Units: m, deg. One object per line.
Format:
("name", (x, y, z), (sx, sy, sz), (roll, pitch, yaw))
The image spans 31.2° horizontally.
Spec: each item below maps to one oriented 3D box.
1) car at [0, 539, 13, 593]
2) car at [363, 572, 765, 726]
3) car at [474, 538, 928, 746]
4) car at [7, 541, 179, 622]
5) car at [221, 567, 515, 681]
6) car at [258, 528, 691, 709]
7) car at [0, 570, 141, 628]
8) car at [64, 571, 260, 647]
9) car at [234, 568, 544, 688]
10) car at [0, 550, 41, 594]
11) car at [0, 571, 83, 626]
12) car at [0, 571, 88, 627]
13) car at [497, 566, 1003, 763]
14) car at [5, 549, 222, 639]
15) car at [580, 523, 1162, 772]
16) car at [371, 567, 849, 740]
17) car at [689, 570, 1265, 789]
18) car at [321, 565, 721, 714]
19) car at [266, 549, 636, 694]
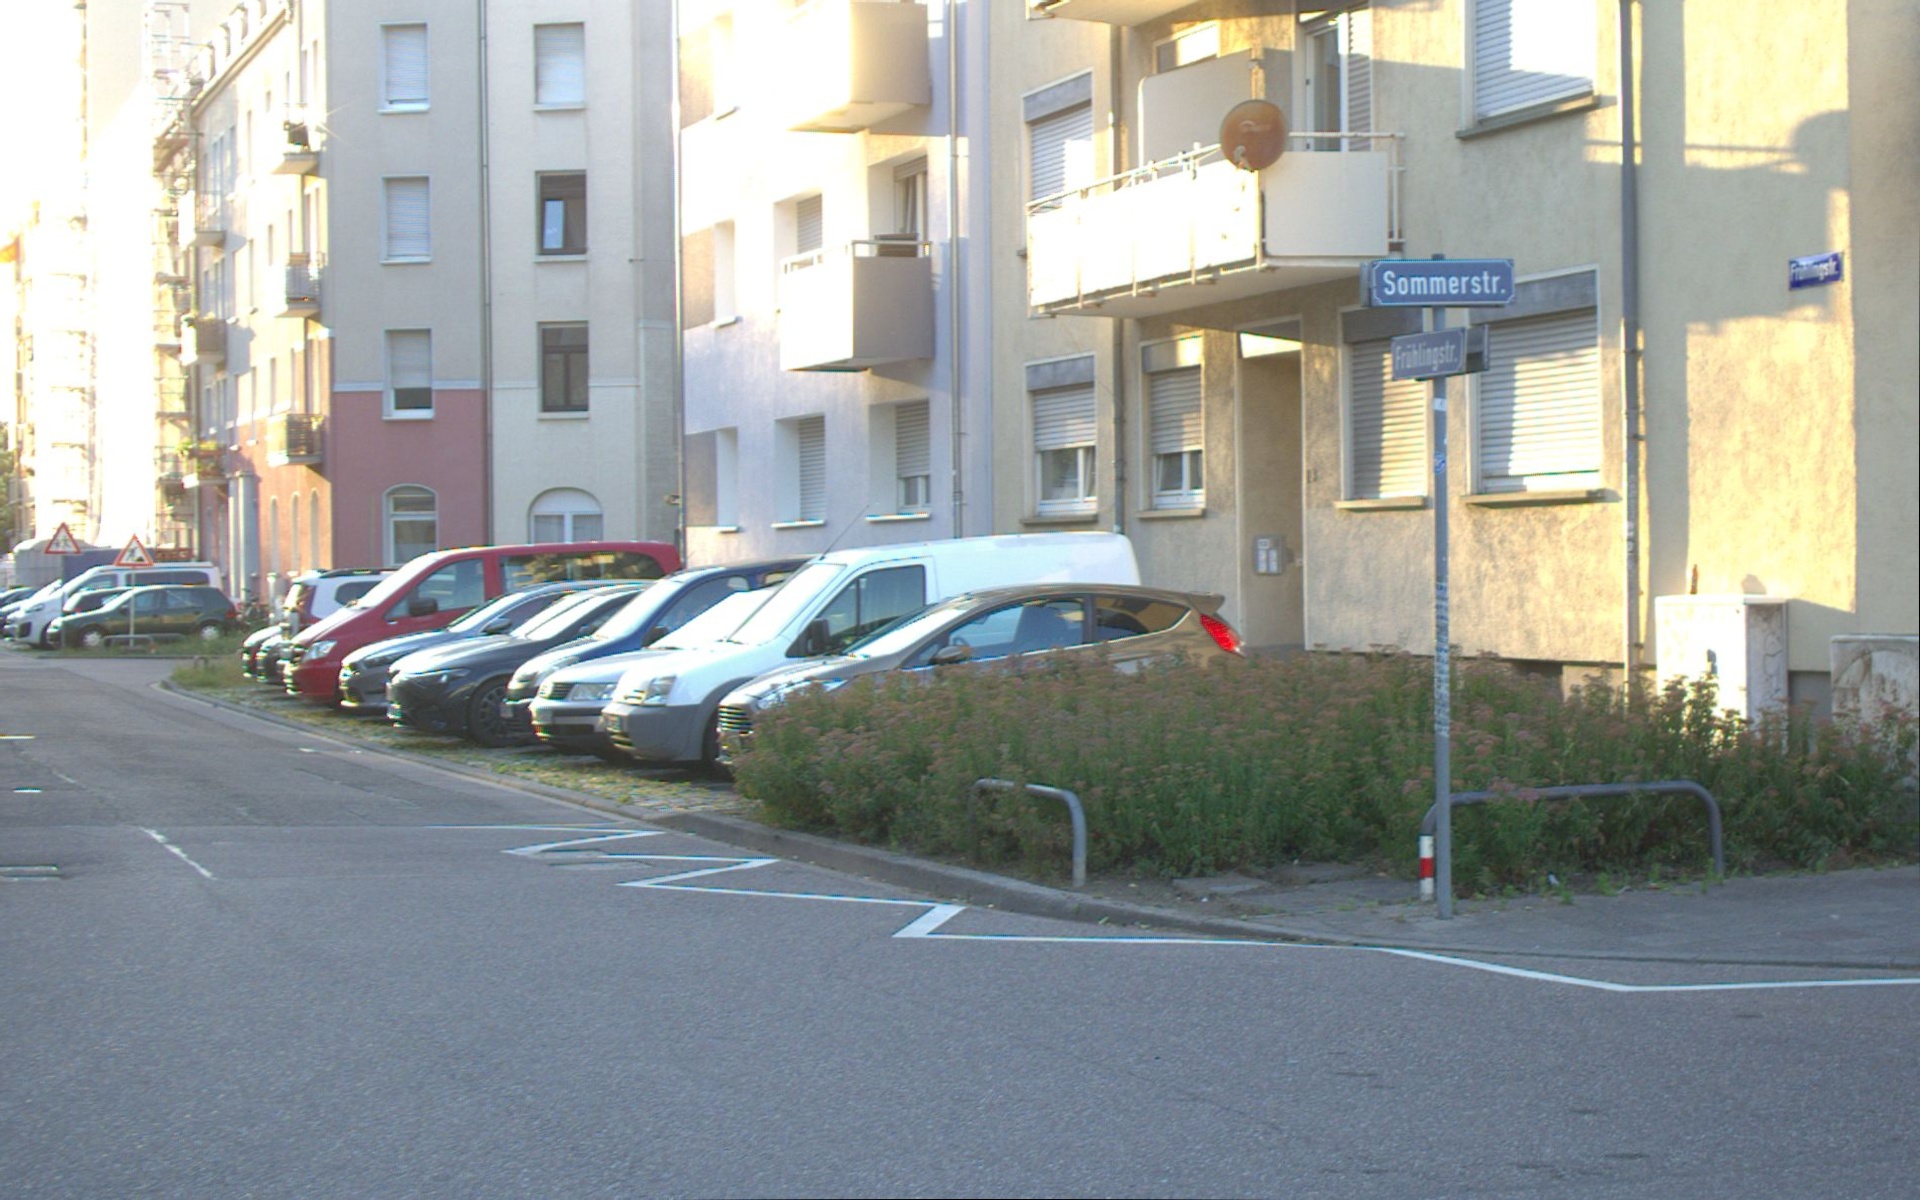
("car", (-44.921, -1.473, 153.652), (4.812, 2.400, 1.739), (-2, 1, -19))
("car", (-4.170, 0.496, 36.143), (3.874, 1.411, 1.637), (-2, 1, -21))
("car", (-2.384, 0.362, 31.448), (3.790, 1.689, 1.655), (-2, 1, -19))
("car", (-22.120, -0.486, 87.709), (3.986, 2.007, 2.000), (-1, 0, -23))
("car", (-8.341, 0.329, 48.397), (3.811, 1.423, 1.635), (-2, 1, -20))
("car", (-5.788, 0.196, 40.942), (4.721, 1.903, 2.060), (-2, 1, -20))
("car", (-25.569, -0.032, 98.296), (3.986, 1.525, 1.659), (-2, 1, -19))
("car", (-17.493, 0.177, 75.387), (3.986, 1.525, 1.659), (-2, 1, -19))
("car", (-7.637, 0.362, 45.976), (3.811, 1.423, 1.635), (-2, 1, -20))
("car", (-34.704, -0.955, 121.799), (3.986, 1.525, 1.659), (-2, 1, -19))
("car", (-28.182, -0.025, 102.066), (3.986, 1.525, 1.659), (-2, 1, -19))
("car", (-27.521, -0.012, 100.084), (3.986, 1.525, 1.659), (-2, 1, -19))
("car", (-1.793, 0.510, 29.161), (3.954, 1.517, 1.706), (-1, 1, -19))
("car", (-20.154, -0.152, 81.857), (4.812, 1.961, 1.739), (-2, 1, -19))
("car", (-0.719, 0.346, 27.331), (4.278, 1.854, 1.742), (-1, 0, -19))
("car", (-3.405, 0.490, 33.384), (4.307, 1.444, 1.655), (-2, 1, -19))
("car", (0.110, 0.545, 25.300), (3.871, 1.487, 1.742), (-1, 0, -19))
("car", (-4.925, 0.421, 38.525), (4.144, 1.466, 1.637), (-2, 1, -20))
("car", (-6.489, 0.257, 43.770), (4.323, 1.632, 1.818), (-2, 1, -20))
